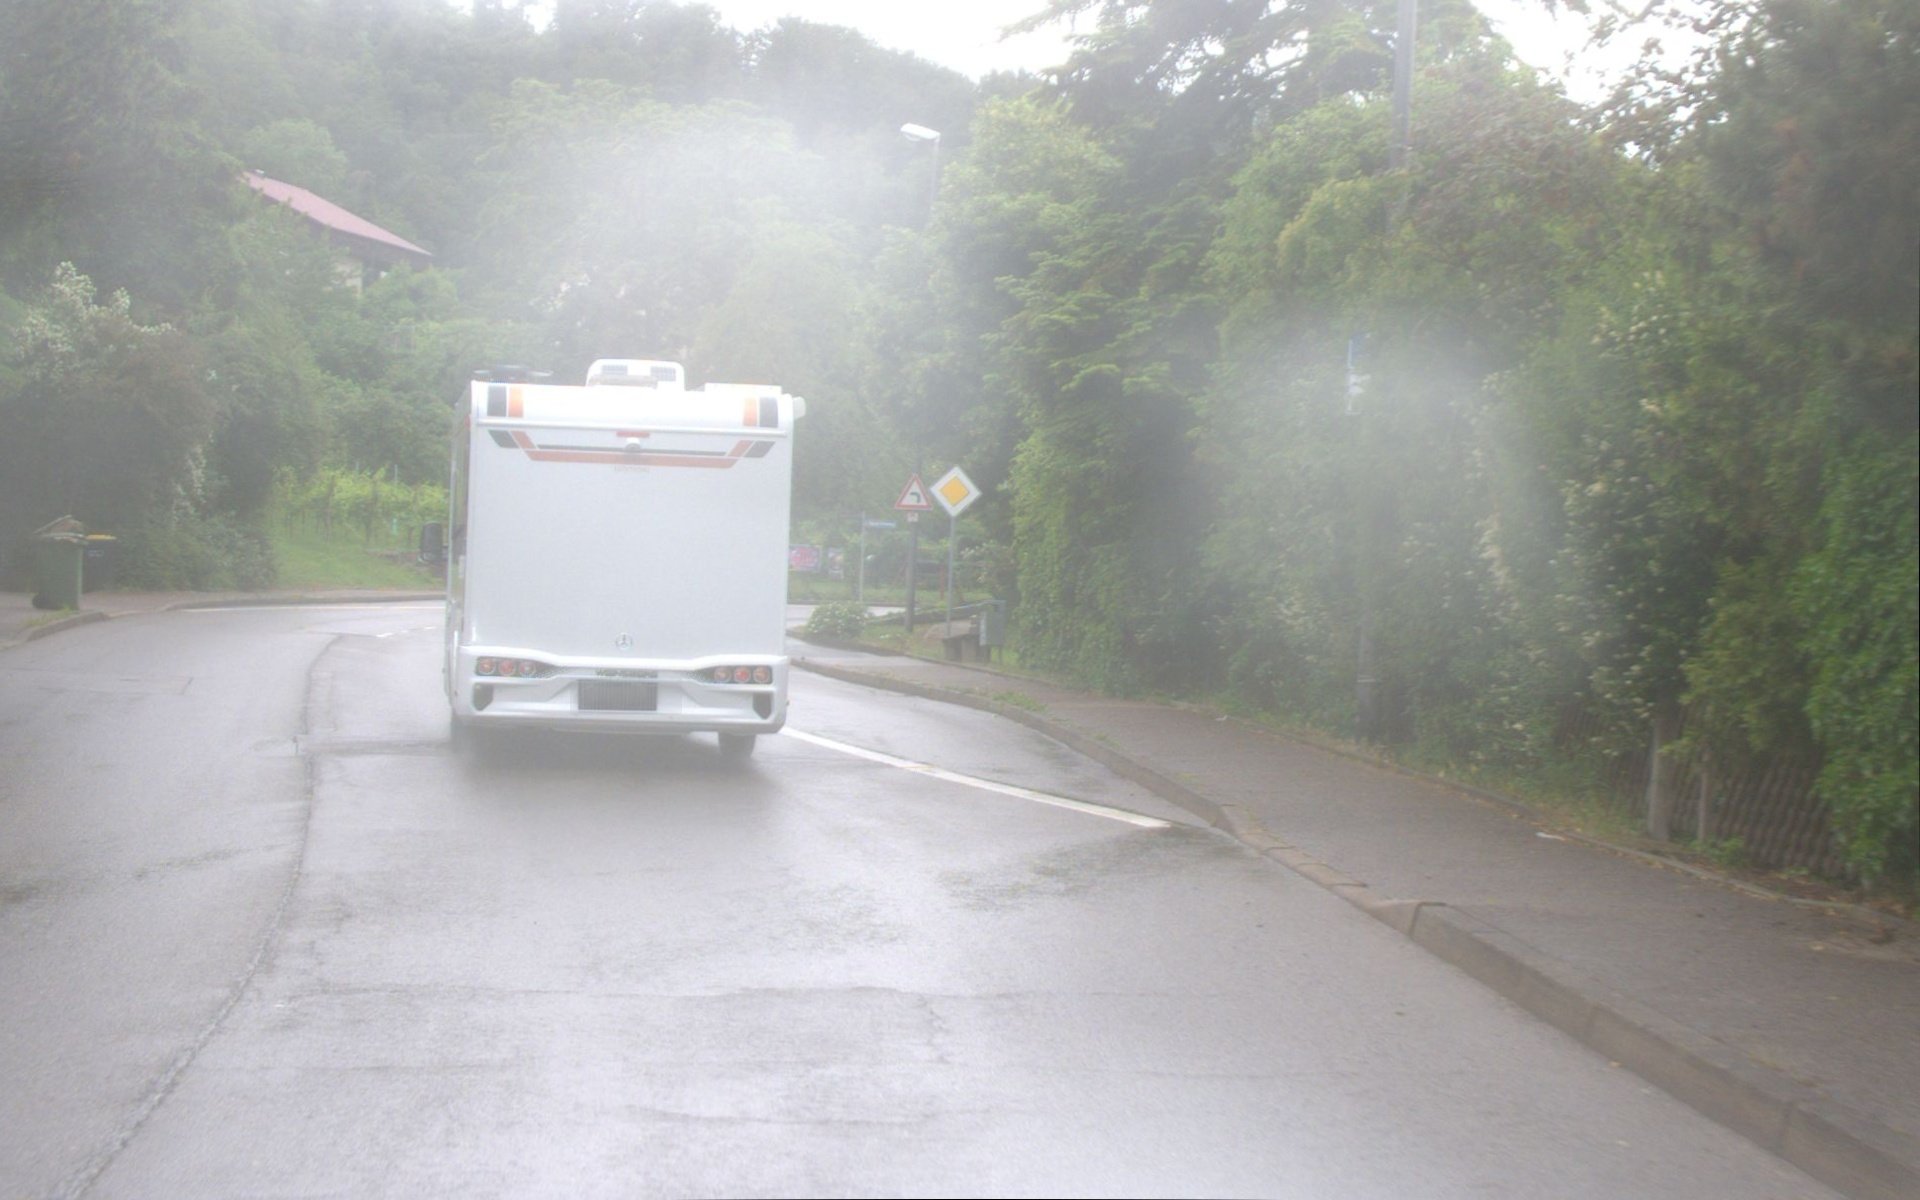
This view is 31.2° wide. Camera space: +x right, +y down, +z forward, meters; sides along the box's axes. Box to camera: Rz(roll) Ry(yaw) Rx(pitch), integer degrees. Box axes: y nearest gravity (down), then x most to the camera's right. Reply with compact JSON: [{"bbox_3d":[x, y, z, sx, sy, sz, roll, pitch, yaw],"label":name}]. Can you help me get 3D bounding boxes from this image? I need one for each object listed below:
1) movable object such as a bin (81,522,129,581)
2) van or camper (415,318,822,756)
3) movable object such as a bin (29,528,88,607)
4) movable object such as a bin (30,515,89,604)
[{"bbox_3d":[-15.271,-0.860,61.415,0.755,1.019,0.744,2,1,-10],"label":"movable object such as a bin"},{"bbox_3d":[-2.677,-0.394,26.086,2.615,2.843,6.032,2,-1,-7],"label":"van or camper"},{"bbox_3d":[-12.879,-0.467,49.141,0.741,1.090,0.758,2,1,-12],"label":"movable object such as a bin"},{"bbox_3d":[-13.083,-0.594,49.966,0.741,1.249,0.758,2,1,-12],"label":"movable object such as a bin"}]
